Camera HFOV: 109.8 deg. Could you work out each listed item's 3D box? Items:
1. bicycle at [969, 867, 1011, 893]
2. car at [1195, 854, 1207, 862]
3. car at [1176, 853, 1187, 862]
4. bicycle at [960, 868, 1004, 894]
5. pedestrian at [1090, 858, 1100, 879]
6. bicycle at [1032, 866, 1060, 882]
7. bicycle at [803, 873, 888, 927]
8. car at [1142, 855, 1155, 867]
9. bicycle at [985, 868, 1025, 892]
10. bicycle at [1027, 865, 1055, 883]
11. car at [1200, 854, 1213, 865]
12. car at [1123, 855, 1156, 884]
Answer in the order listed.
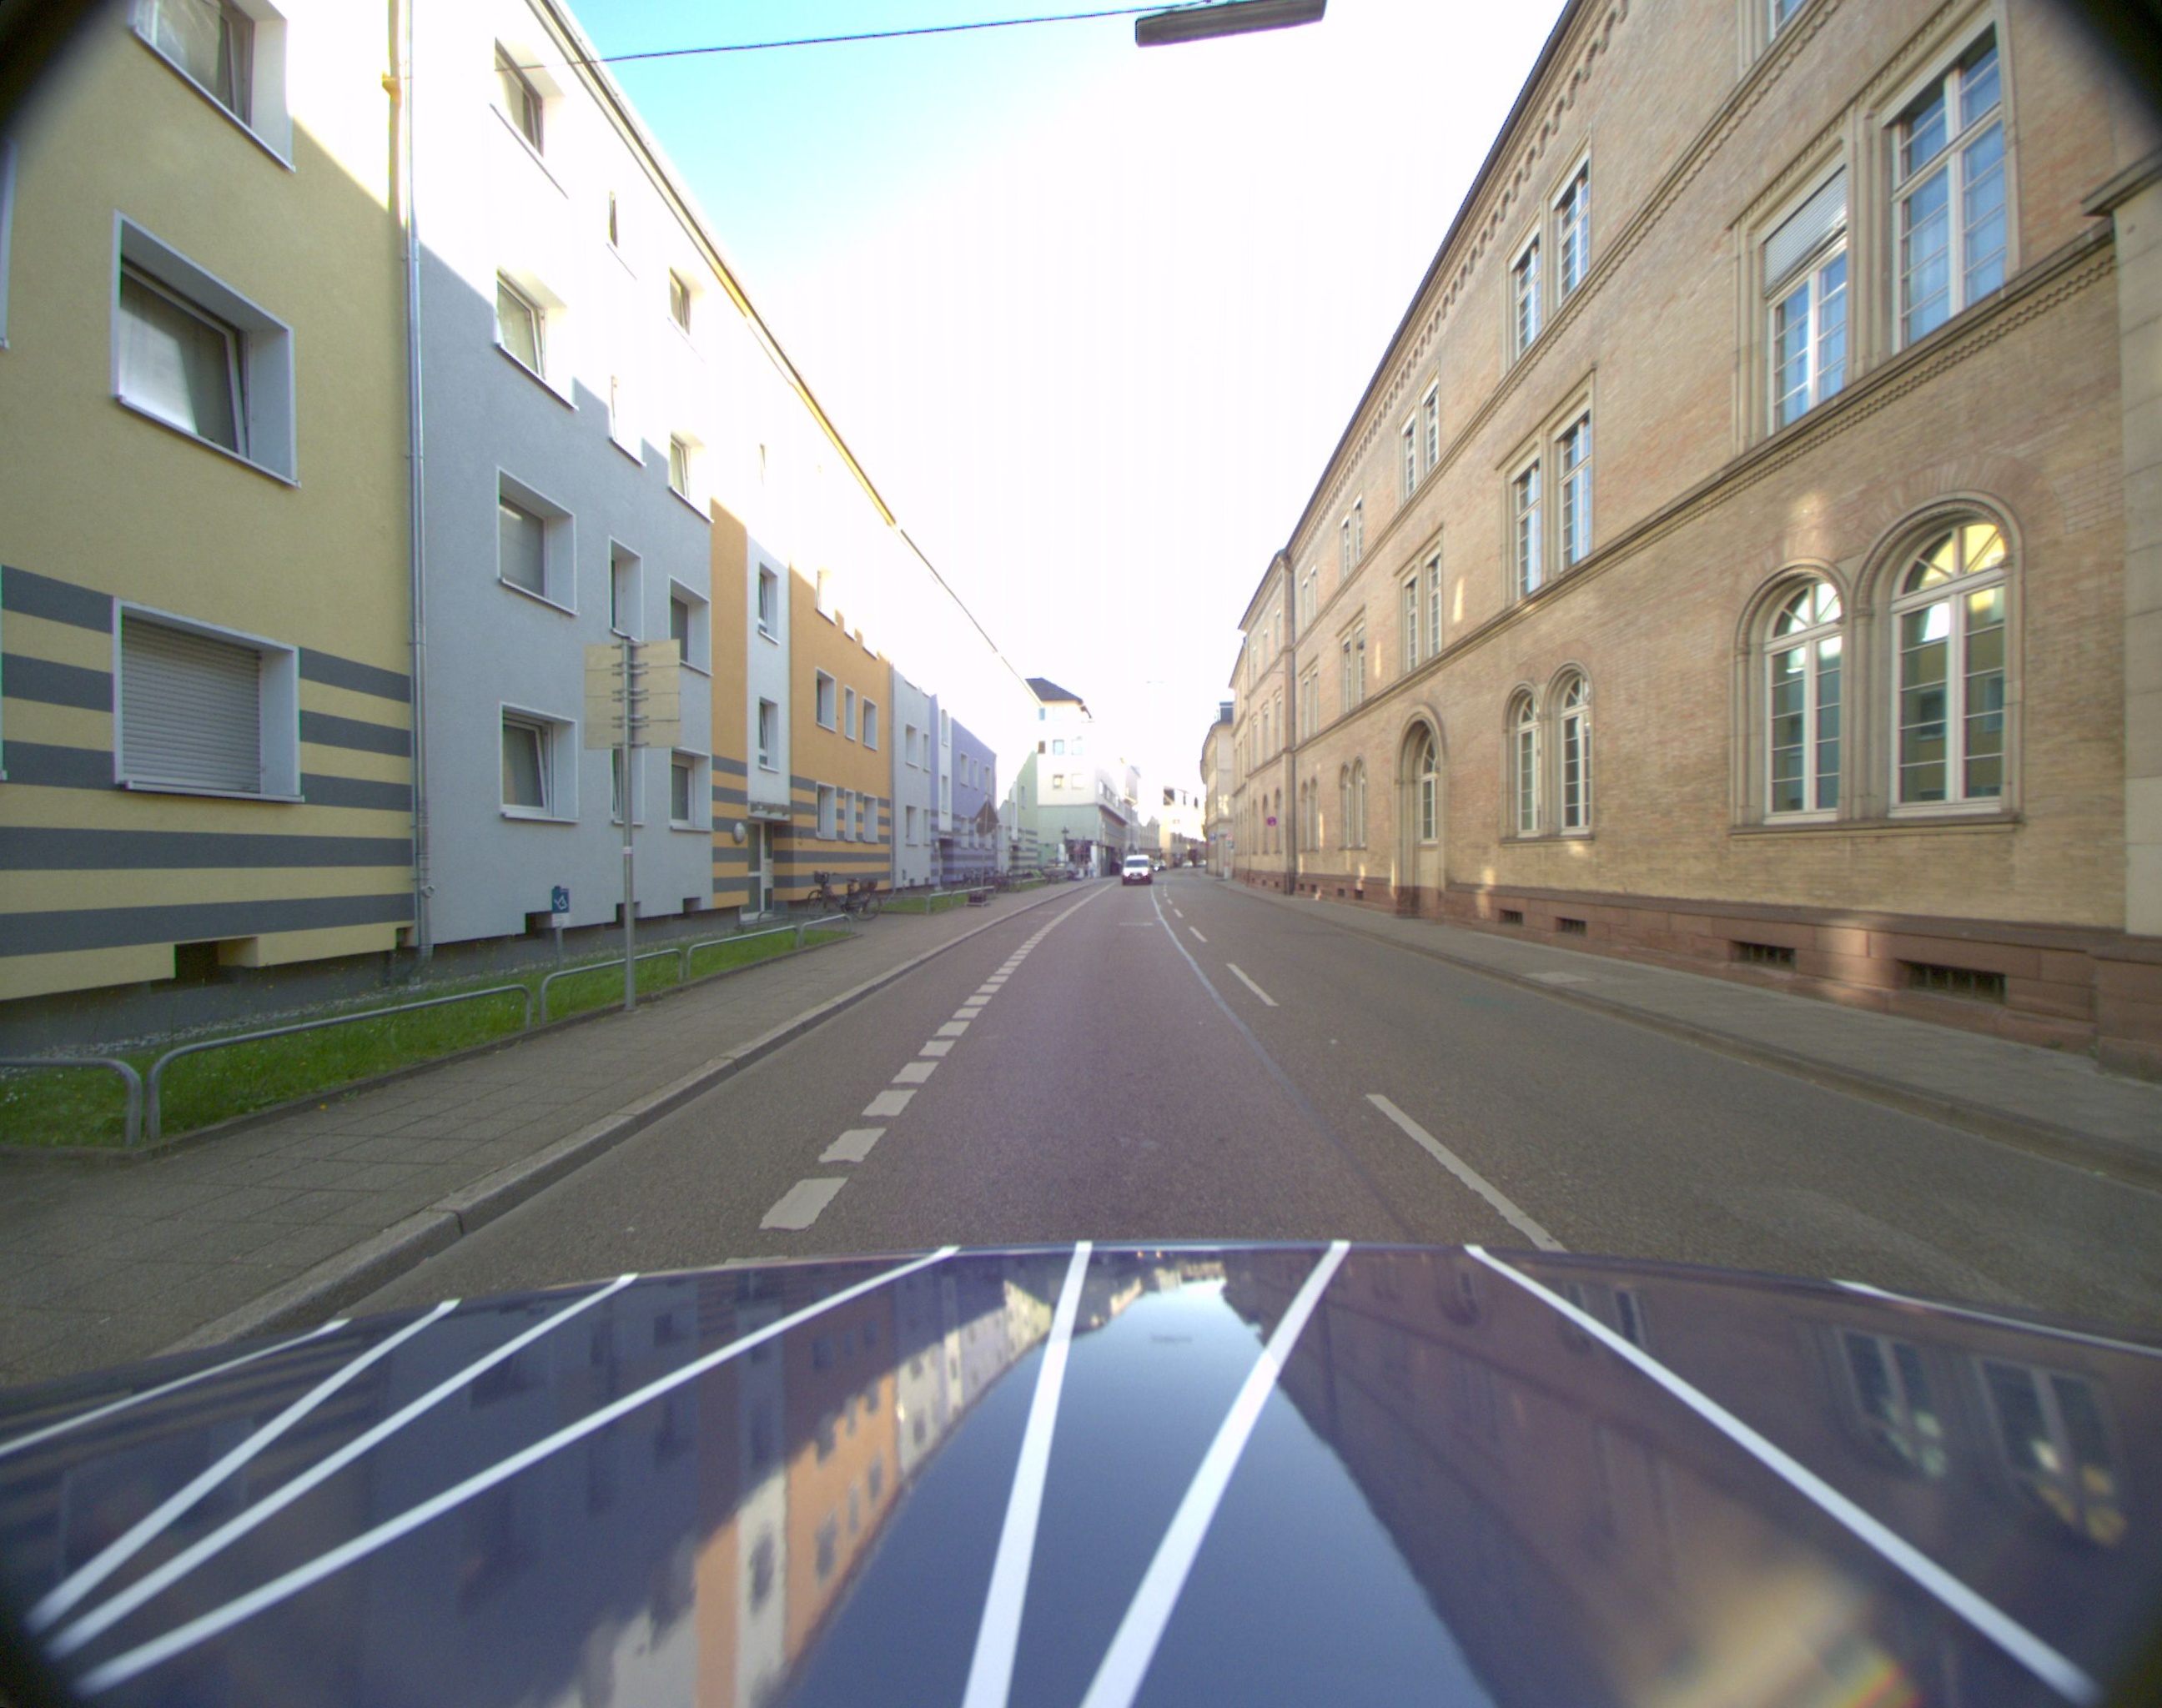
[{"bbox_3d":[-3.947,1.118,33.006,1.710,1.075,0.636,1,0,1],"label":"bicycle"},{"bbox_3d":[25.806,0.793,163.539,1.925,1.714,4.236,0,0,19],"label":"car"},{"bbox_3d":[19.866,0.606,149.686,1.534,1.714,3.743,0,0,16],"label":"car"},{"bbox_3d":[-4.149,1.129,31.863,1.710,1.039,0.636,1,0,2],"label":"bicycle"},{"bbox_3d":[1.060,1.081,55.824,0.708,1.510,0.661,-1,0,1],"label":"pedestrian"},{"bbox_3d":[-2.169,1.270,47.585,1.711,0.972,0.516,1,0,-2],"label":"bicycle"},{"bbox_3d":[-5.288,1.025,17.110,1.711,1.152,0.636,1,0,-2],"label":"bicycle"},{"bbox_3d":[9.473,0.989,106.050,1.535,1.714,3.741,0,0,8],"label":"car"},{"bbox_3d":[-3.387,1.141,33.767,1.711,1.029,0.636,1,0,-2],"label":"bicycle"},{"bbox_3d":[-2.417,1.217,46.125,1.711,1.097,0.584,1,0,-2],"label":"bicycle"},{"bbox_3d":[19.880,0.793,120.066,1.662,1.714,3.743,0,0,14],"label":"car"},{"bbox_3d":[3.769,0.932,47.996,1.922,1.712,4.963,0,0,6],"label":"car"}]
